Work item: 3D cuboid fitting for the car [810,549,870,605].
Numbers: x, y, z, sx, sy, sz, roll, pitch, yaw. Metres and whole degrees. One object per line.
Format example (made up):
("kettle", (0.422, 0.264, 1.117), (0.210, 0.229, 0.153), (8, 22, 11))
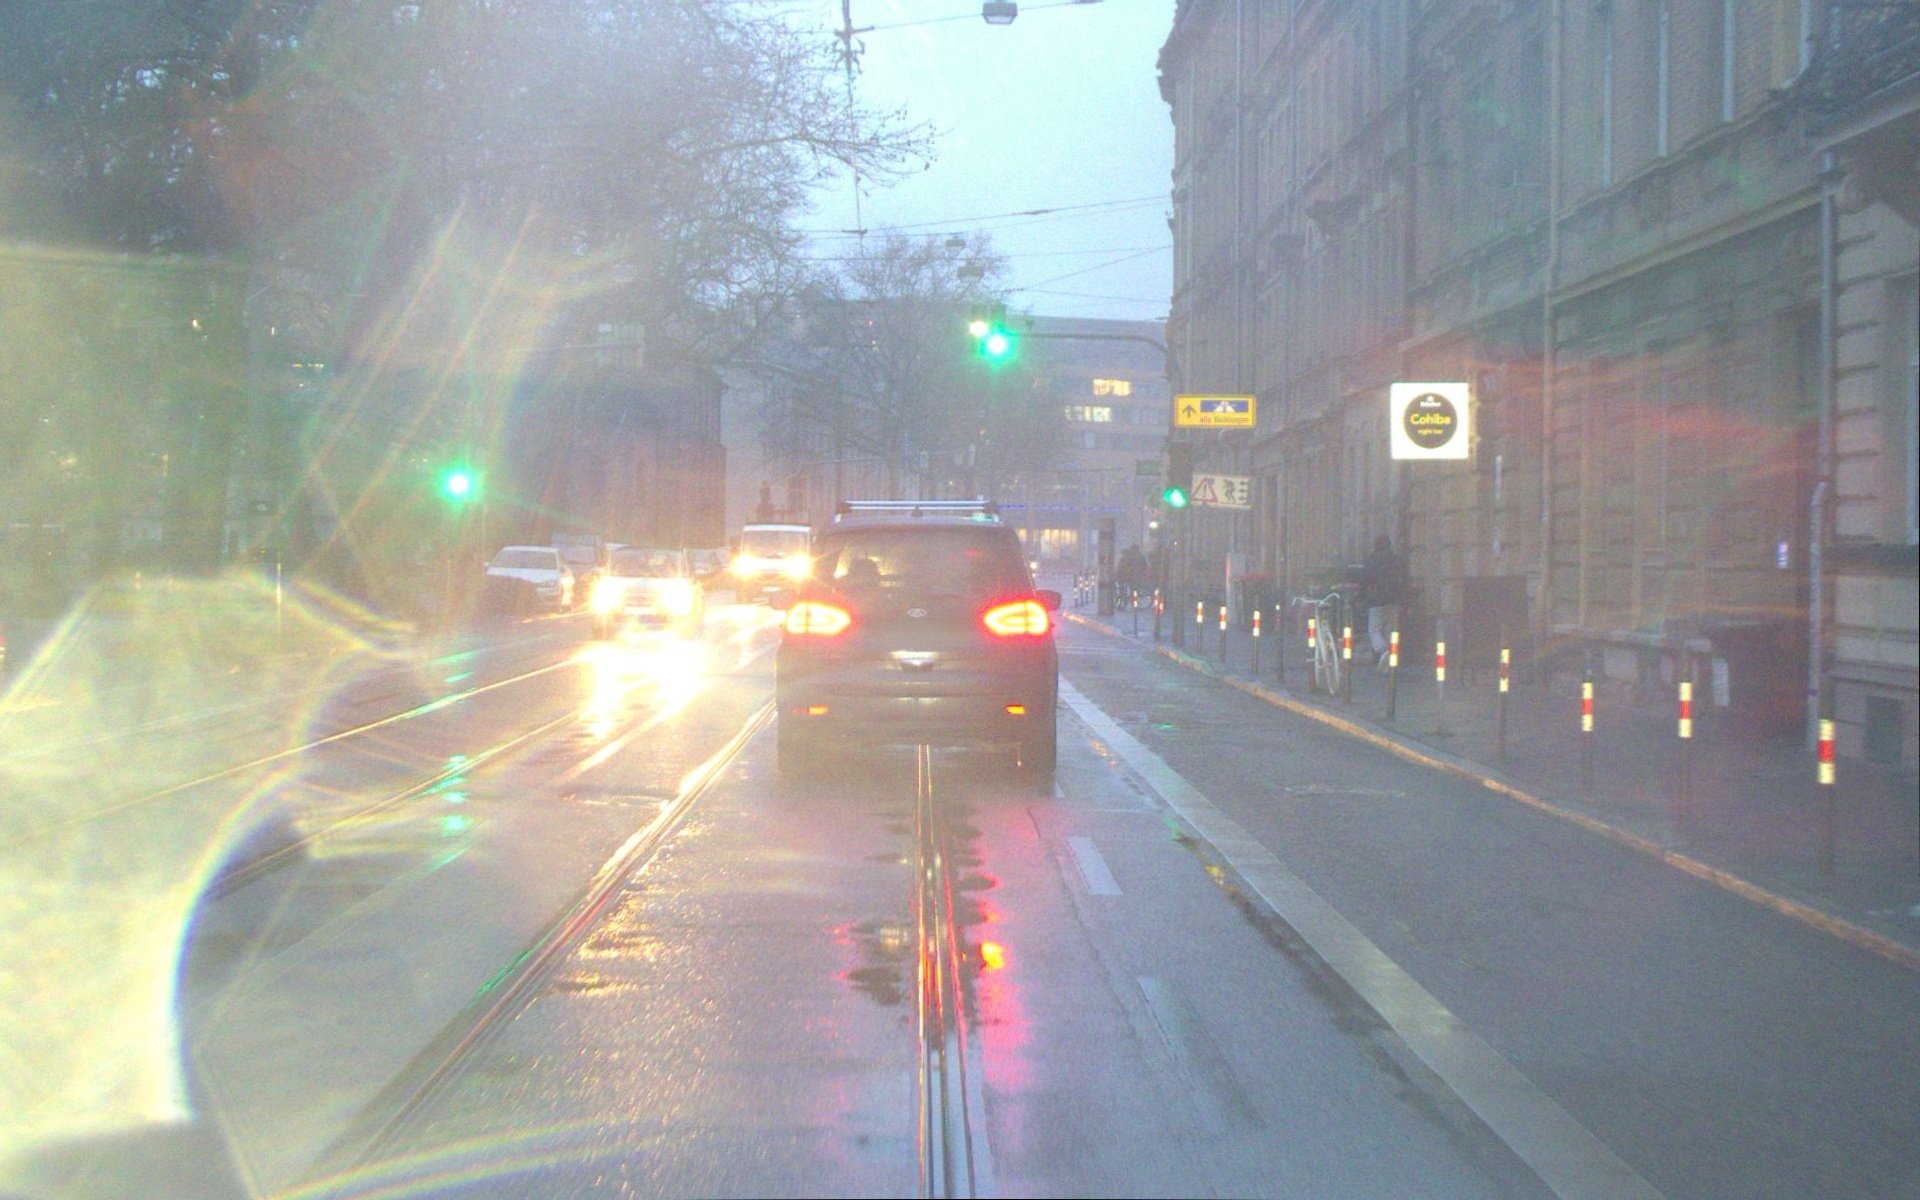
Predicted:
("car", (-4.490, -0.861, 129.015), (1.993, 2.007, 4.000), (1, 0, 1))

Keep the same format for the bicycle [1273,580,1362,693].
("bicycle", (3.802, 0.372, 36.714), (0.684, 1.152, 2.188), (1, 0, 0))

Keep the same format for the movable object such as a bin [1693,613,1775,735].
("movable object such as a bin", (6.078, 0.577, 27.007), (0.506, 0.928, 0.507), (1, 1, -2))

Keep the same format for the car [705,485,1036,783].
("car", (-0.517, 0.185, 23.538), (1.994, 1.835, 4.000), (1, 1, 2))

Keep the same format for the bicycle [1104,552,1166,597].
("bicycle", (4.575, -0.665, 89.983), (0.792, 1.140, 2.244), (1, 0, -19))

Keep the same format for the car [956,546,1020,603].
("car", (0.959, -0.860, 115.180), (1.993, 1.835, 4.000), (1, 1, 2))

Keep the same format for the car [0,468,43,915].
("car", (-4.565, 0.387, 11.384), (1.875, 1.704, 4.761), (0, 1, -1))

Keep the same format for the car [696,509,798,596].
("car", (-5.864, -1.306, 95.327), (2.446, 2.339, 5.845), (0, 0, 0))

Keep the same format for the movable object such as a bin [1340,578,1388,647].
("movable object such as a bin", (5.487, 0.170, 46.650), (0.488, 0.925, 0.425), (0, 1, -27))

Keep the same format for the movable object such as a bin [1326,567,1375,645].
("movable object such as a bin", (5.538, 0.081, 48.734), (0.611, 1.078, 0.599), (0, 1, 15))

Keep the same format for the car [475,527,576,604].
("car", (-9.581, -0.761, 76.062), (1.983, 1.610, 4.430), (1, 0, -5))

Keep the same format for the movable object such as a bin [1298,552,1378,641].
("movable object such as a bin", (5.554, -0.062, 50.580), (0.887, 1.284, 1.262), (0, 1, -7))

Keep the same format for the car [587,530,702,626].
("car", (-5.035, -0.372, 55.184), (1.530, 1.476, 3.561), (0, 1, 0))

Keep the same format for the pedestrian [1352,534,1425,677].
("pedestrian", (5.208, 0.064, 41.766), (0.835, 1.695, 0.953), (1, 0, 8))
